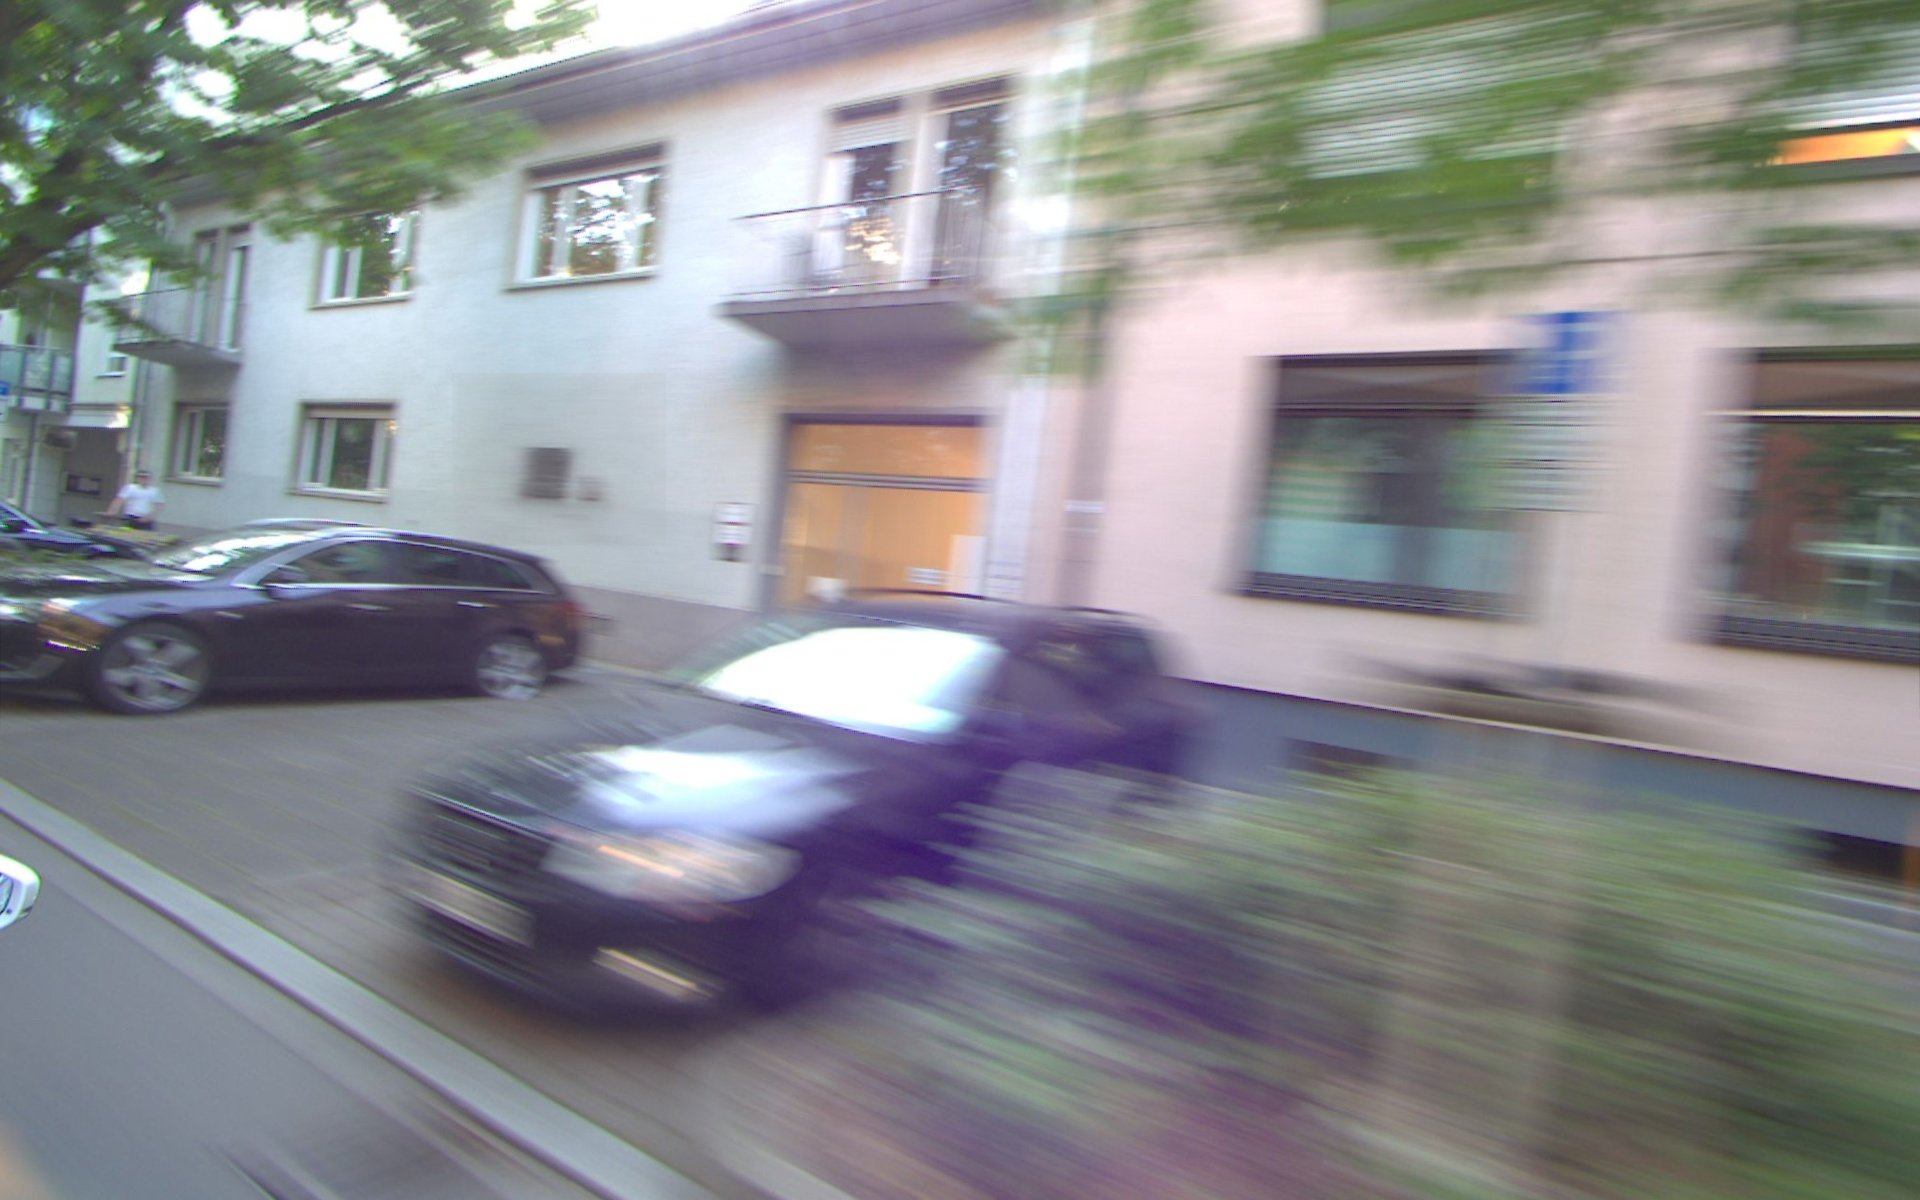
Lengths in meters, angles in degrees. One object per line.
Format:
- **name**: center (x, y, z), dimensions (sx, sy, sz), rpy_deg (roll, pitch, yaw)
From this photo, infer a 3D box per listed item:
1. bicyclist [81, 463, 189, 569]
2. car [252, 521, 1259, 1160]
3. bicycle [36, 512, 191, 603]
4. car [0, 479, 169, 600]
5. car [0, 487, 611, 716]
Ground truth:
- **bicyclist**: center (-14.240, -1.440, 17.374), dimensions (1.116, 1.624, 0.972), rpy_deg (7, 0, 28)
- **car**: center (-0.306, 0.666, 5.026), dimensions (2.009, 1.467, 4.840), rpy_deg (7, 1, 34)
- **bicycle**: center (-14.252, -0.733, 16.889), dimensions (3.341, 1.178, 0.622), rpy_deg (7, 0, 26)
- **car**: center (-13.128, -0.901, 12.772), dimensions (1.980, 1.446, 4.455), rpy_deg (7, 2, 36)
- **car**: center (-5.582, 0.002, 8.520), dimensions (1.968, 1.406, 4.678), rpy_deg (7, 2, 33)
